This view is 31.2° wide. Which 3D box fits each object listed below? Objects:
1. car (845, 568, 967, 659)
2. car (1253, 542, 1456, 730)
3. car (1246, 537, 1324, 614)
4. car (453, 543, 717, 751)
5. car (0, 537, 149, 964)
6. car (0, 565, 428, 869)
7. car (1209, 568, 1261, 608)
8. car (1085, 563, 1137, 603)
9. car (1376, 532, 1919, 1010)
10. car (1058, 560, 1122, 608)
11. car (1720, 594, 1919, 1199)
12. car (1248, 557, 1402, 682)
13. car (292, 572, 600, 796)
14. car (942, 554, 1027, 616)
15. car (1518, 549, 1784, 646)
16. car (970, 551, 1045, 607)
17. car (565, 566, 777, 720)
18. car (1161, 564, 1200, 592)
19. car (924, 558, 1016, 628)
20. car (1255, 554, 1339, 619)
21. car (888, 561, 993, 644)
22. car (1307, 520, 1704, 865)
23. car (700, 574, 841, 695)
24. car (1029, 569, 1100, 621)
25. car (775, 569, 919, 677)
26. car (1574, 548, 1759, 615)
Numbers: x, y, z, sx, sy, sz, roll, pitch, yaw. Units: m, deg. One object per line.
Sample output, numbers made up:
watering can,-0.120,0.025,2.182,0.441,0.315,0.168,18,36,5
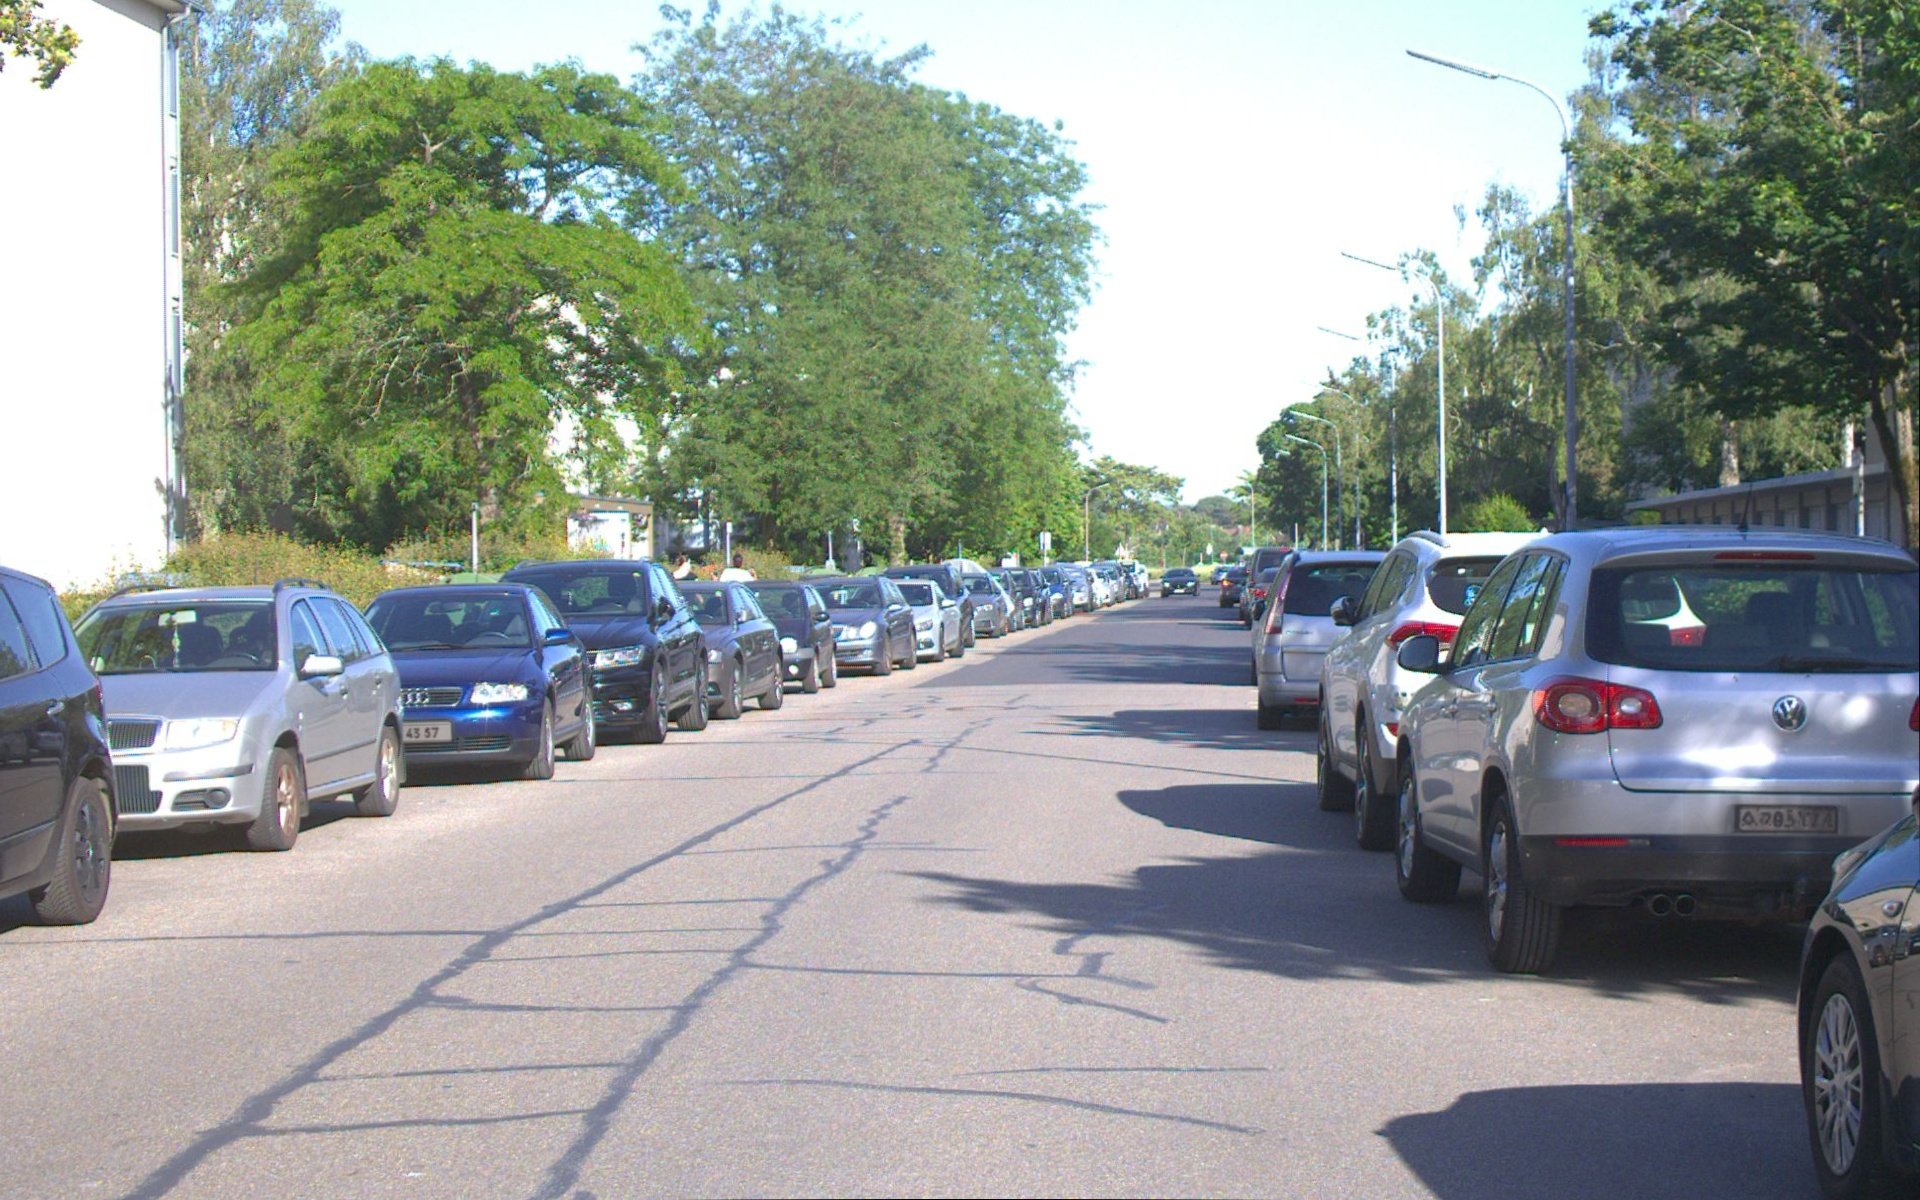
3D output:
car,-0.877,0.203,57.191,1.510,1.359,3.466,-2,1,7
car,3.629,0.285,32.206,1.697,1.636,4.233,0,1,4
car,8.084,-0.628,85.694,1.824,1.796,4.233,0,2,4
car,-3.297,0.363,30.909,1.660,1.682,4.049,-2,1,3
car,-4.599,0.618,13.325,1.670,1.661,4.406,-2,1,2
car,-4.331,0.587,19.735,1.660,1.481,4.052,-2,1,3
car,10.113,-0.452,126.120,1.824,1.320,4.233,0,2,5
car,6.093,-0.705,138.344,1.825,1.461,4.233,0,2,7
car,2.787,0.549,13.739,1.729,1.613,4.234,0,1,0
car,4.382,-0.544,115.337,1.825,1.461,4.233,0,2,7
car,2.813,0.753,6.429,1.681,1.451,4.292,1,1,-2
car,4.793,0.218,44.717,1.825,1.461,4.232,-2,1,8
car,-3.707,0.555,25.394,1.660,1.421,4.049,-3,1,-1
car,0.585,-0.363,79.269,1.510,1.324,3.466,-2,1,7
car,11.577,-0.060,57.841,4.220,1.588,1.830,0,1,6
car,1.228,-0.542,87.891,1.510,1.324,3.466,-2,1,7
car,-2.986,0.409,36.169,1.660,1.434,3.759,-2,1,3
car,11.333,-1.128,176.568,1.944,1.285,4.233,0,2,4
car,0.230,-0.162,73.283,1.510,1.377,3.466,-2,1,7
car,7.820,-0.323,80.009,1.824,1.461,4.233,0,1,4
car,-0.342,0.022,64.976,1.510,1.429,3.466,-2,1,7
car,2.898,0.423,19.050,1.653,1.693,4.233,0,1,2
car,-2.409,0.419,44.194,1.389,1.408,3.125,-2,1,4
car,3.226,-0.170,105.277,1.825,1.461,4.233,0,2,7
car,-1.640,0.313,51.031,1.510,1.446,3.690,-2,1,7
car,17.096,-0.441,83.307,4.220,1.525,1.829,0,-2,6
